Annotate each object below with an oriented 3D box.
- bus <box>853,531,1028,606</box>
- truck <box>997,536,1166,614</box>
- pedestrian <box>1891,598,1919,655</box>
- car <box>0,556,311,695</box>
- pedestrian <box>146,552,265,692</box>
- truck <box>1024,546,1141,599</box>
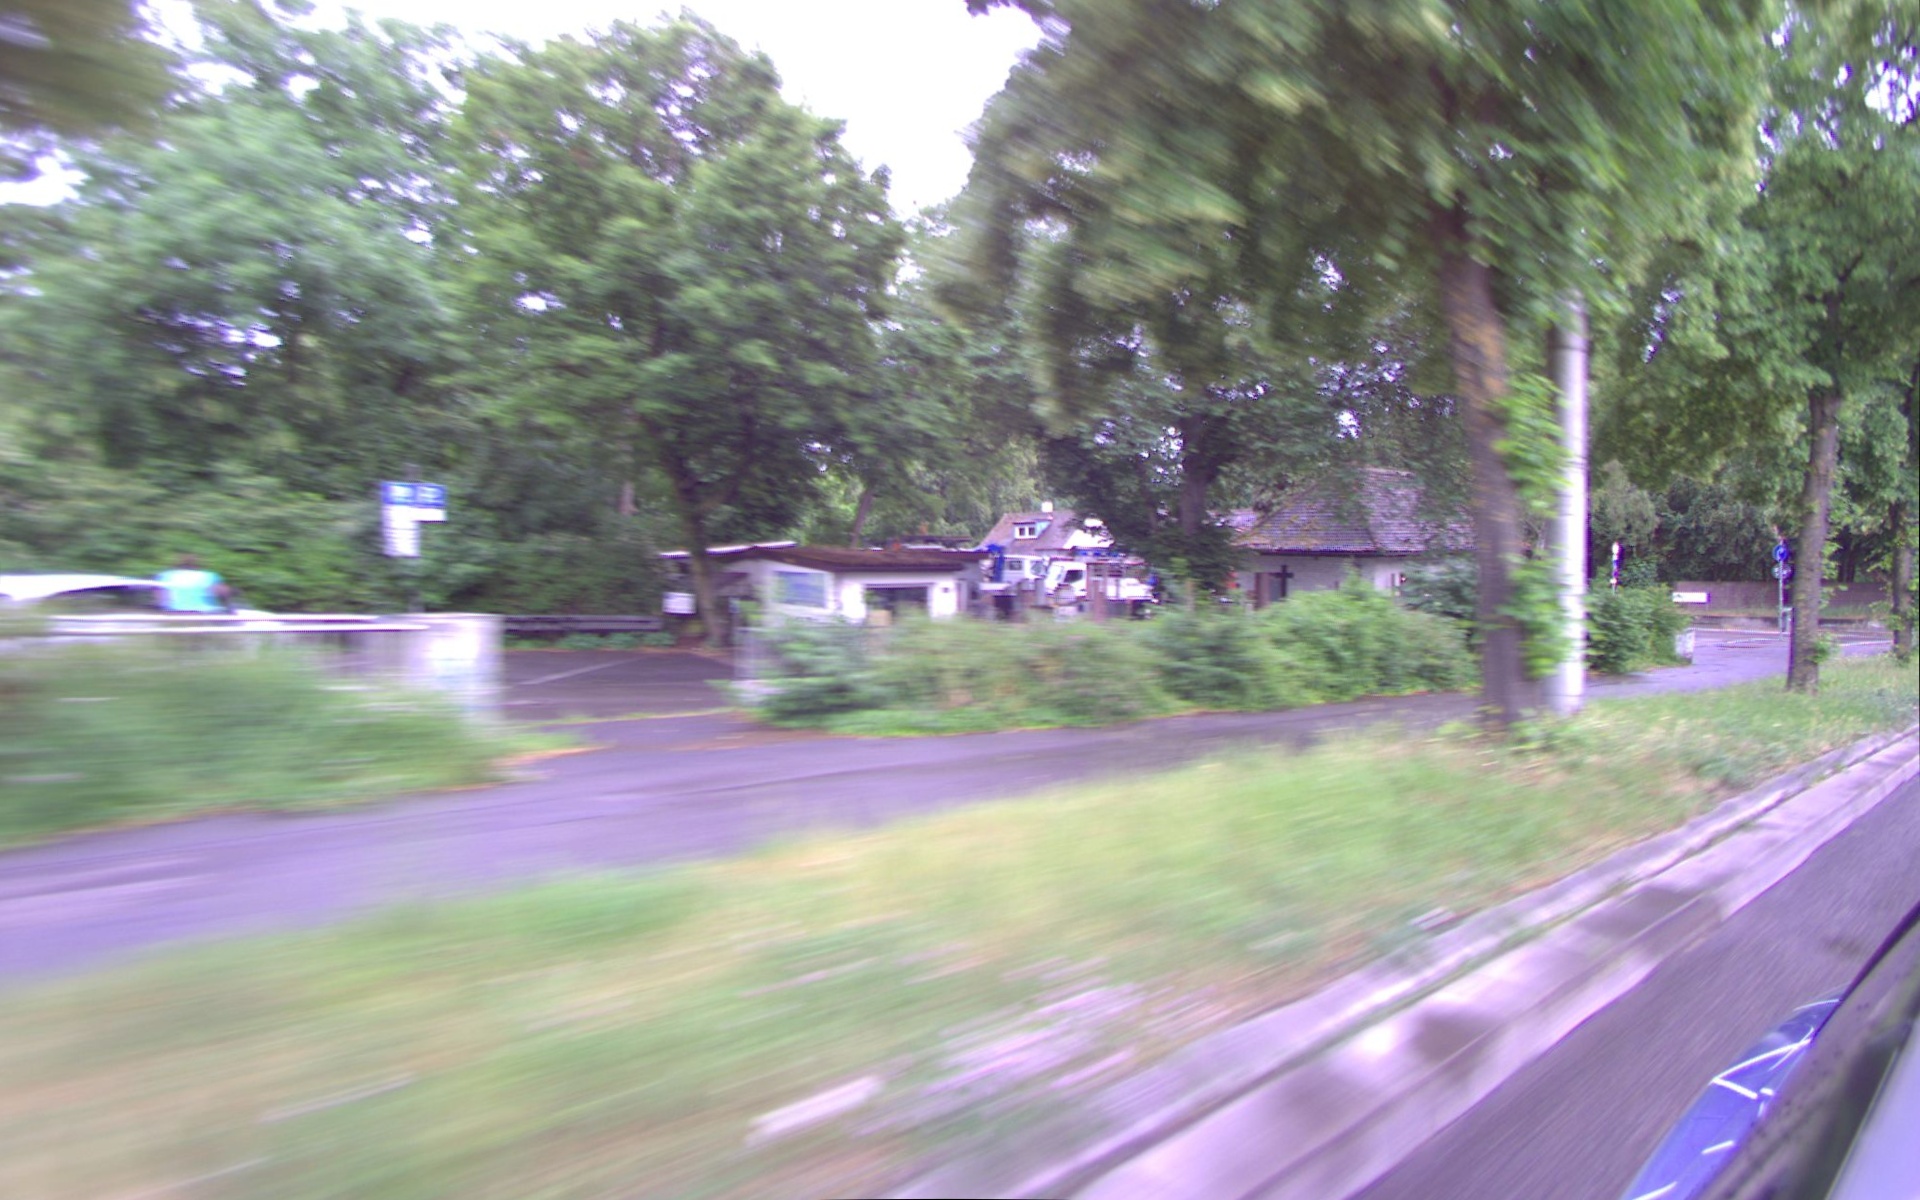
[{"bbox_3d":[-0.687,-1.177,40.811,7.032,2.734,2.259,1,1,-36],"label":"bus"},{"bbox_3d":[4.943,-0.987,41.230,6.466,2.903,2.064,1,0,-15],"label":"truck"},{"bbox_3d":[32.535,0.903,34.620,0.723,1.877,0.857,1,1,-36],"label":"pedestrian"},{"bbox_3d":[-11.651,0.255,13.965,1.967,1.599,4.638,1,1,9],"label":"car"},{"bbox_3d":[-10.225,0.271,13.747,0.882,1.792,0.941,3,2,9],"label":"pedestrian"},{"bbox_3d":[5.726,-1.235,48.025,2.185,2.209,5.397,2,-2,-43],"label":"truck"}]
